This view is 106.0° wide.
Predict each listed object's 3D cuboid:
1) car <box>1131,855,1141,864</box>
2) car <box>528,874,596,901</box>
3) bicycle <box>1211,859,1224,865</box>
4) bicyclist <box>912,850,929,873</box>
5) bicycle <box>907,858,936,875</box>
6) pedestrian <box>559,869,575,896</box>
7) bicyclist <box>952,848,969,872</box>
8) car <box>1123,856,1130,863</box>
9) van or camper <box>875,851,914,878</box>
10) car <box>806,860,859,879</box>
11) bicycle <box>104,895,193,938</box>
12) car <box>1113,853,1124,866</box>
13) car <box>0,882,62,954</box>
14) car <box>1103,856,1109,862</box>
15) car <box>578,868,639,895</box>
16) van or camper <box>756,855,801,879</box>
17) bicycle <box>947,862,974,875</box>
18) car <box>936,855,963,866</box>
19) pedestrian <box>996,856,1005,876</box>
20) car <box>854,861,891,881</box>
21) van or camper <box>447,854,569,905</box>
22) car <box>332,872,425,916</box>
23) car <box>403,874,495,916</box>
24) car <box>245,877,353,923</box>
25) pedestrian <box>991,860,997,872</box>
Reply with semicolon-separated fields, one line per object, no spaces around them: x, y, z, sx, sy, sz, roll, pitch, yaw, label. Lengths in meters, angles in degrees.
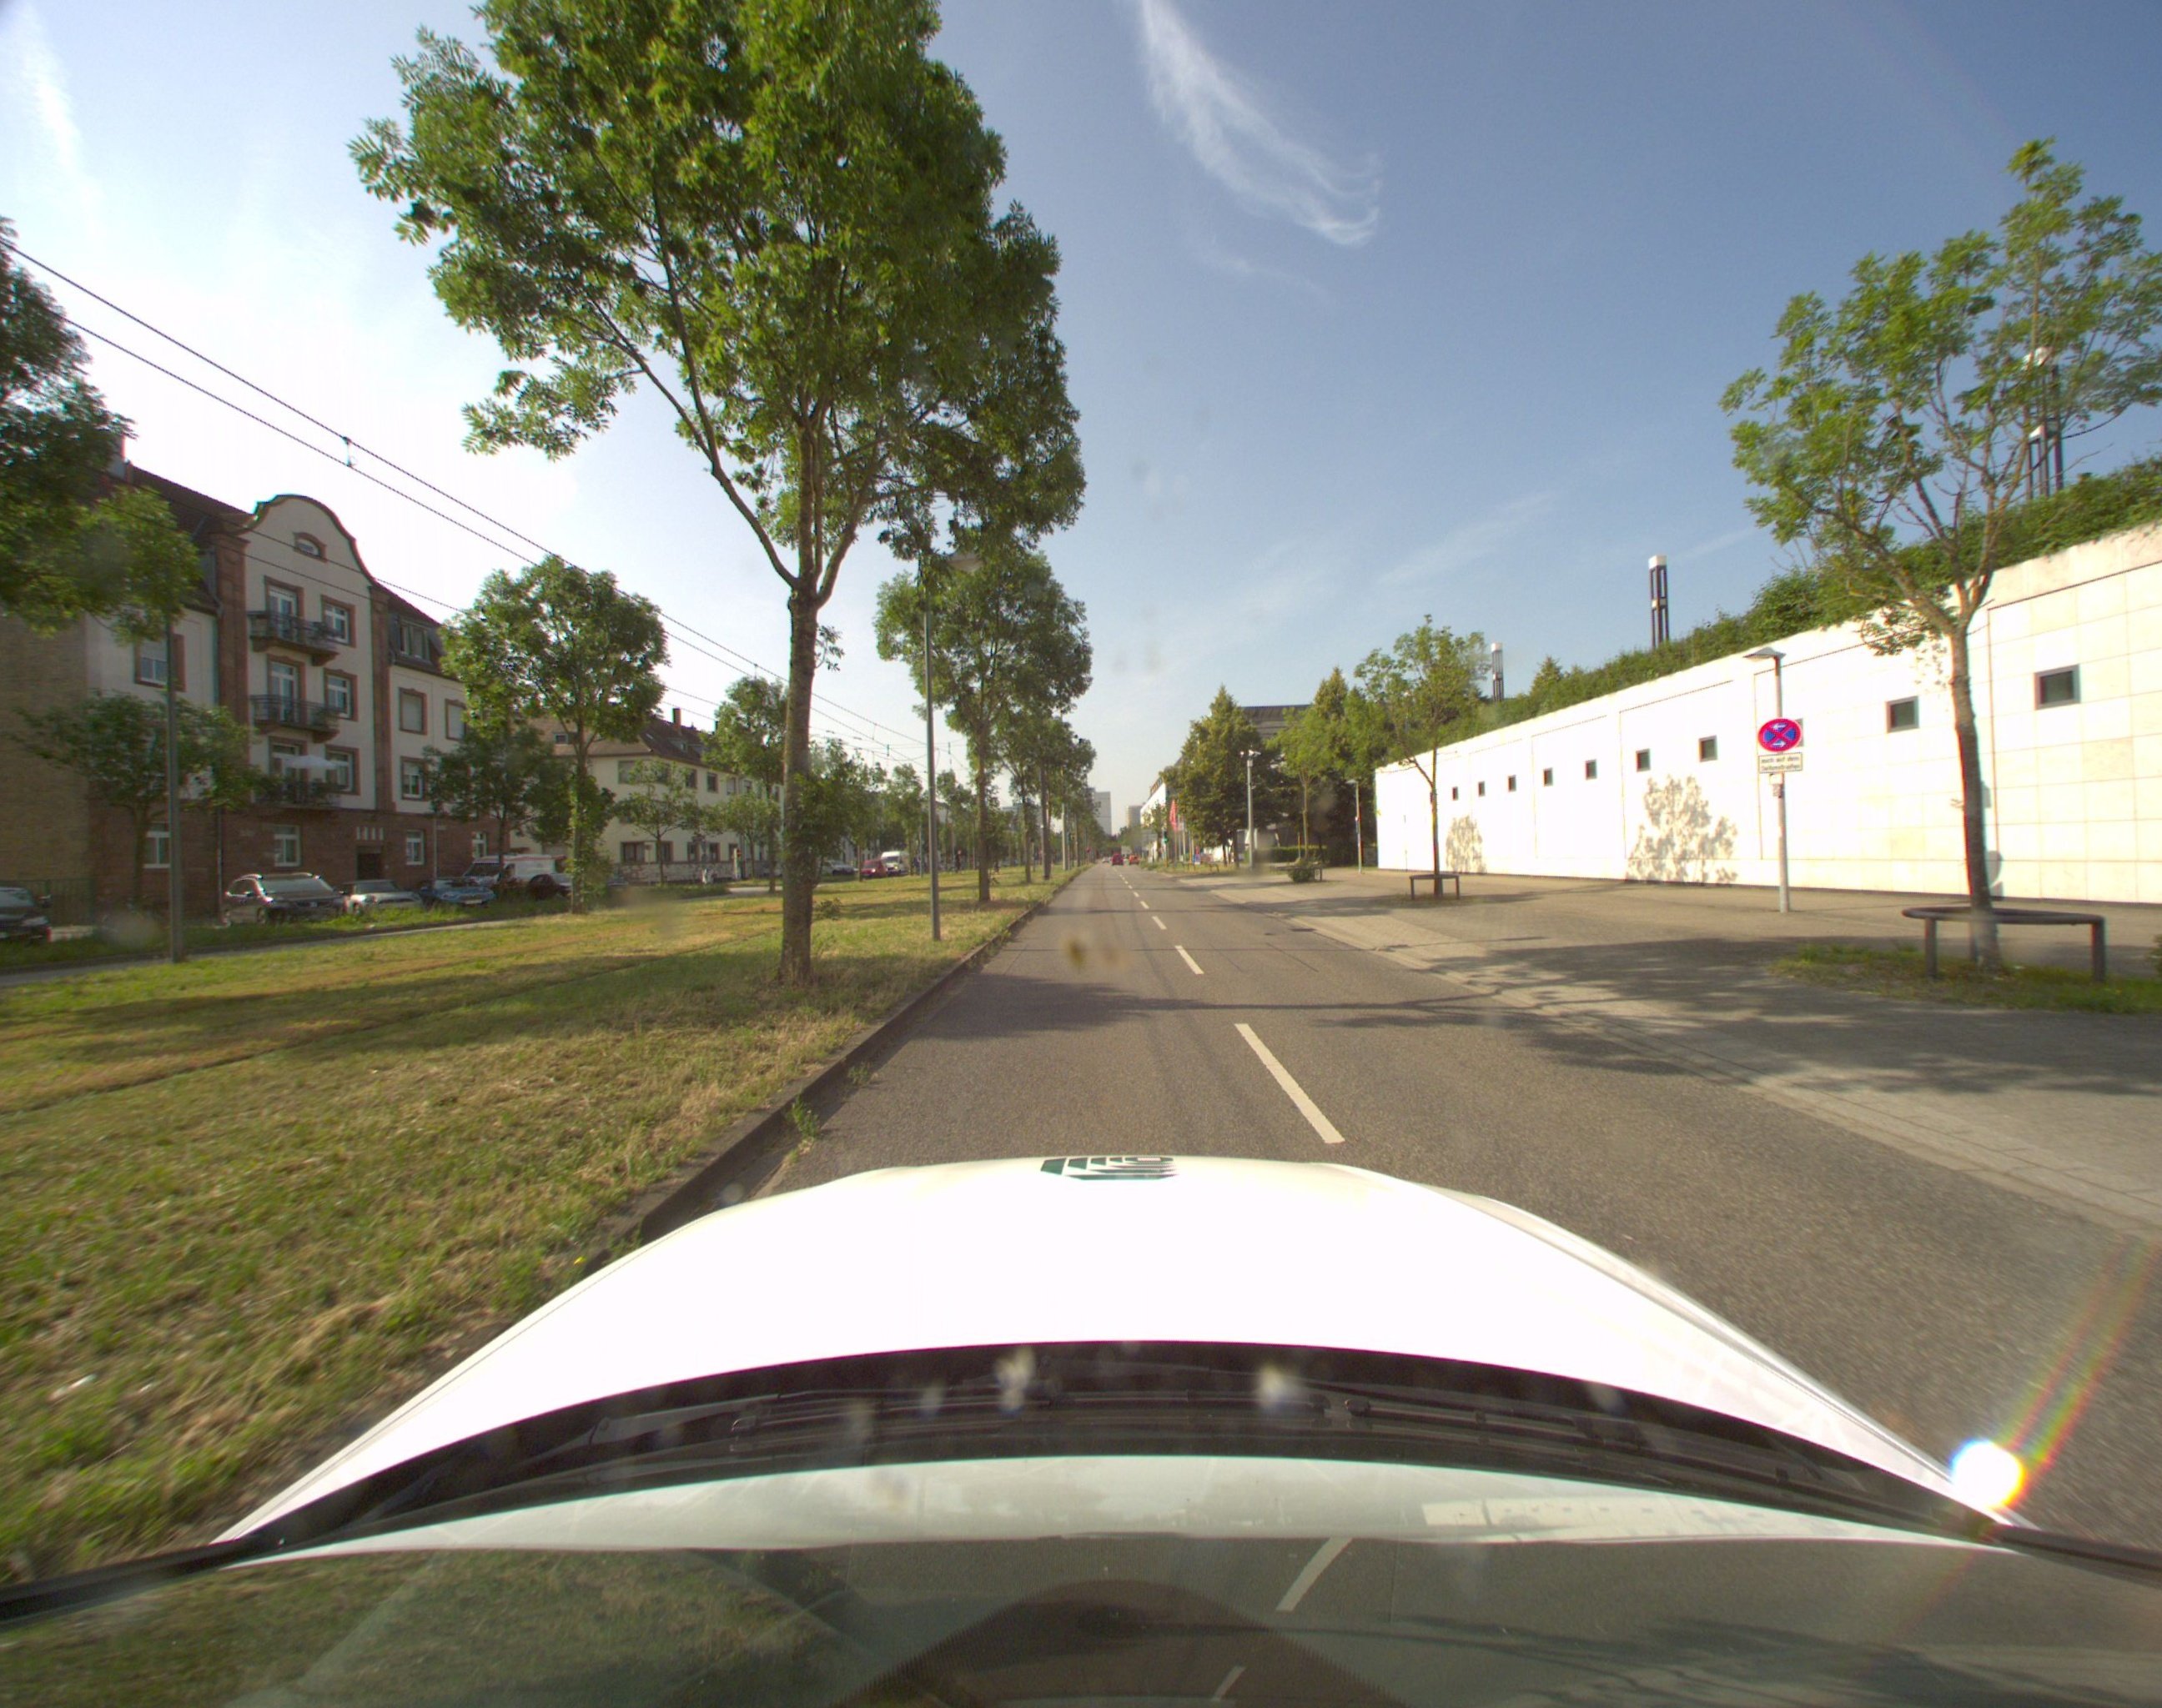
10.127;0.985;150.765;1.741;1.650;3.217;0;-1;2;car
-24.059;1.536;37.757;3.124;1.161;1.506;0;-1;34;car
18.713;1.083;111.594;1.616;0.888;0.551;0;-1;0;bicycle
-12.466;0.613;63.143;1.154;1.762;0.679;1;-1;-31;bicyclist
-12.397;0.983;63.184;2.079;1.324;0.776;1;-1;-30;bicycle
-33.032;1.831;52.355;0.579;1.665;0.620;0;-1;5;pedestrian
-9.656;0.503;65.146;1.153;1.934;0.680;1;-1;-27;bicyclist
11.535;1.447;204.886;1.741;1.650;3.217;0;-1;2;car
-17.847;1.011;78.274;2.195;2.531;6.031;0;-1;1;van or camper
-23.519;1.419;77.026;5.258;1.738;2.013;0;-1;35;car
-25.362;1.677;22.204;0.465;1.049;1.994;0;-1;-12;bicycle
6.161;0.917;133.940;1.741;2.014;3.217;0;-1;2;car
-24.632;1.404;18.389;4.419;1.419;1.987;0;-1;38;car
7.359;1.494;235.959;1.741;1.650;3.217;0;-1;2;car
-24.079;1.376;41.498;3.124;1.326;1.506;0;-1;35;car
-30.380;1.265;82.016;1.985;2.328;5.833;0;-1;3;van or camper
-9.617;1.164;65.142;2.078;1.042;0.662;1;-1;-28;bicycle
-20.127;0.985;124.603;3.950;1.530;1.472;0;-1;27;car
-6.269;0.935;63.496;0.622;1.572;0.711;0;-1;2;pedestrian
-18.224;1.437;71.346;1.956;1.694;4.300;0;-1;3;car
-30.926;1.322;44.304;2.032;2.567;6.357;0;-1;1;van or camper
-24.804;1.358;28.724;3.948;1.417;1.587;0;-1;36;car
-24.097;1.514;31.021;3.948;1.417;1.587;0;-1;34;car
-24.866;1.421;25.859;3.948;1.269;1.649;0;-1;34;car
-6.782;0.930;63.561;0.339;0.875;0.461;0;-1;2;pedestrian
